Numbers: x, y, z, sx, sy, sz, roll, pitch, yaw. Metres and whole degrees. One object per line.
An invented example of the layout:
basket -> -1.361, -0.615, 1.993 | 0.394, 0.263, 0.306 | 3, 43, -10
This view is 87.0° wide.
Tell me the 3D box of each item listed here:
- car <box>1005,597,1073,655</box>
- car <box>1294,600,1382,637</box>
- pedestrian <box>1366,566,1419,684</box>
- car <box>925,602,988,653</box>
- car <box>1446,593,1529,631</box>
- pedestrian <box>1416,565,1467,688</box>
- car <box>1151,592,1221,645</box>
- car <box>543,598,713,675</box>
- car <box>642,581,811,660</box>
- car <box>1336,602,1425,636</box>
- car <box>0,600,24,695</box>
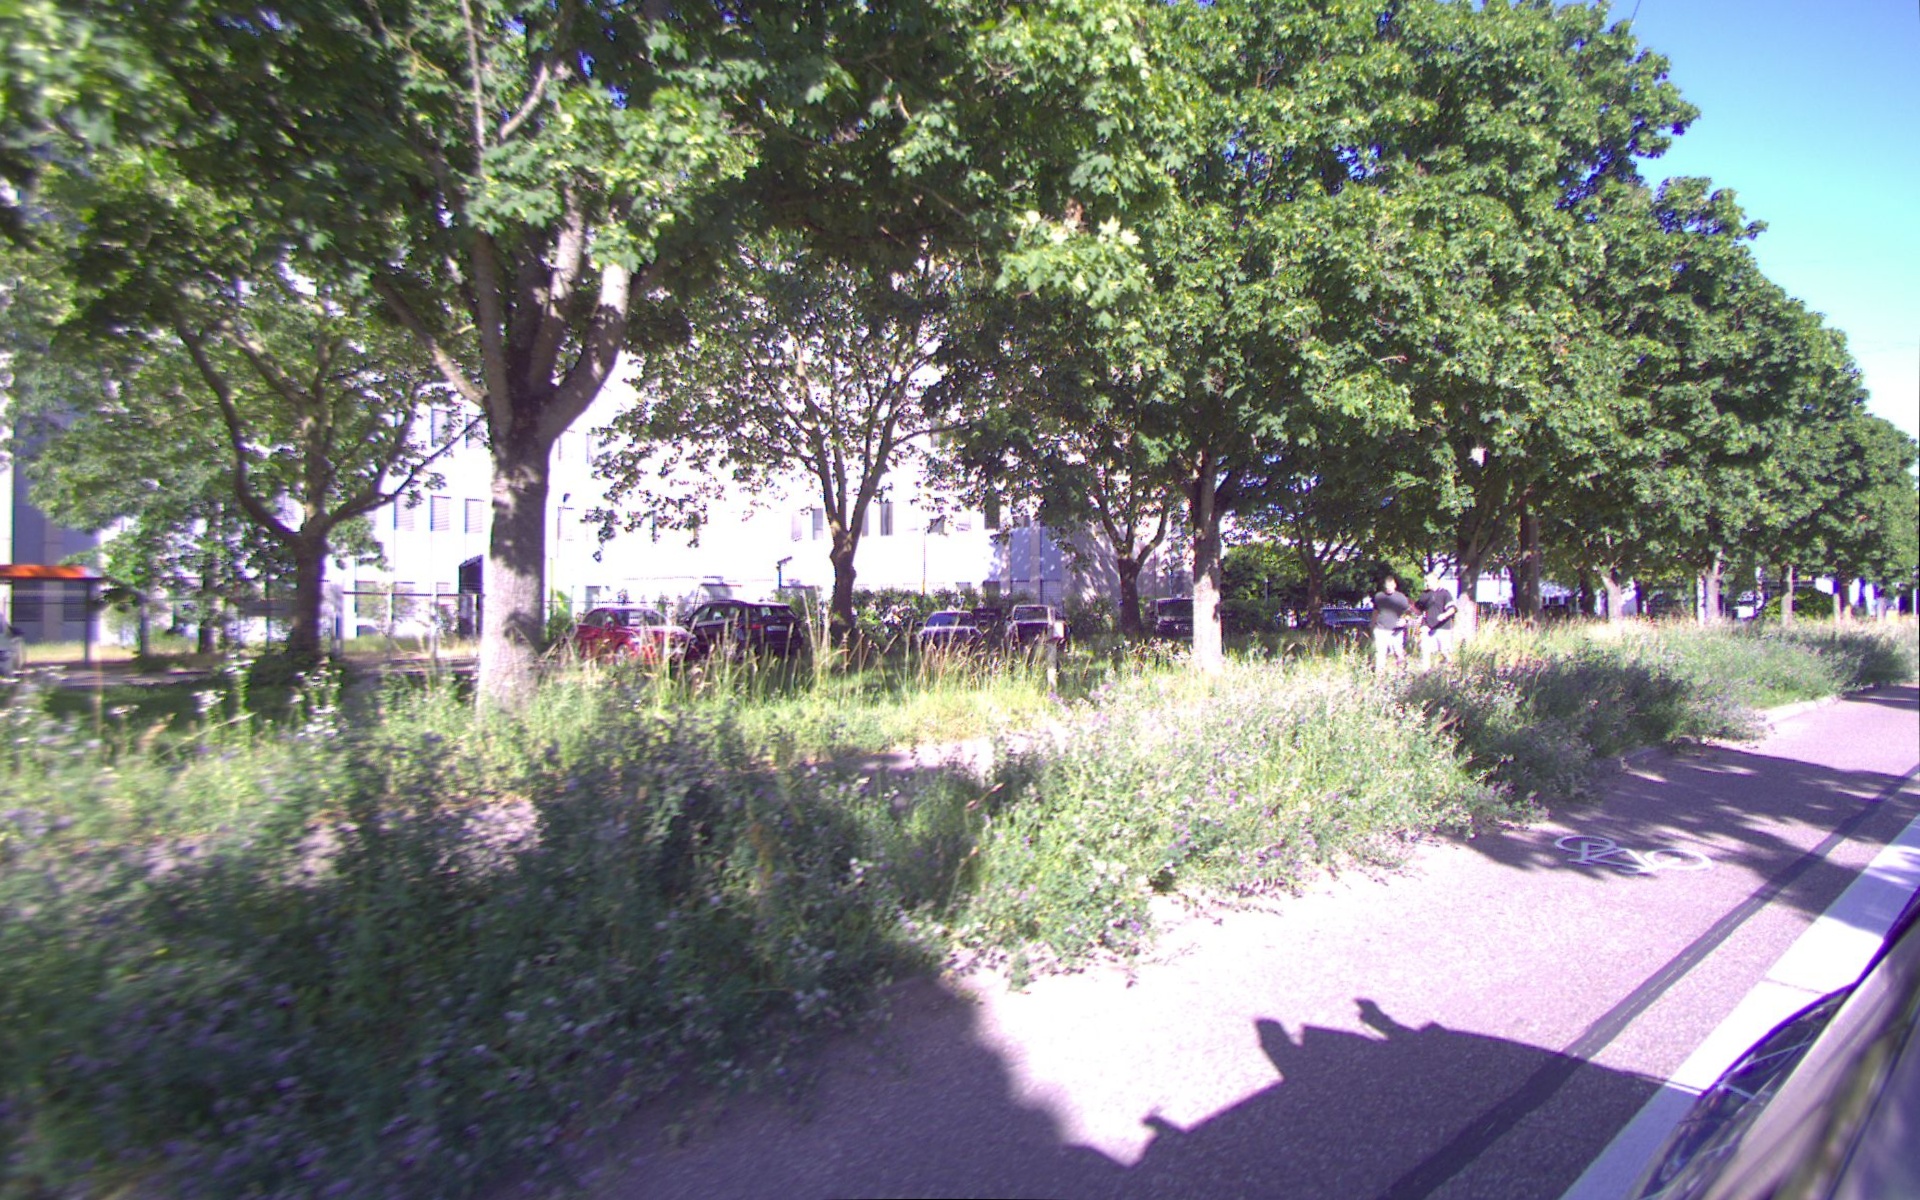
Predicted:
car -> 2.375, 0.769, 31.202 | 1.690, 1.659, 3.987 | -1, -1, -1
car -> 16.496, 0.796, 44.420 | 1.811, 1.535, 4.553 | 0, -1, -5
pedestrian -> 7.377, 0.416, 17.250 | 0.704, 1.955, 0.807 | -1, -1, 31
car -> -0.045, 0.766, 29.267 | 1.677, 1.358, 3.985 | -1, -1, 1
car -> 27.791, 0.638, 53.528 | 2.043, 1.900, 5.179 | -1, -1, 5
pedestrian -> 7.890, 0.427, 16.567 | 0.703, 1.942, 0.808 | -1, -1, 28
car -> 8.097, 0.650, 36.745 | 1.886, 1.774, 5.445 | -1, -1, 7
car -> -7.601, 0.745, 23.001 | 4.225, 1.555, 1.740 | 1, 0, 40
car -> -5.695, 0.426, 24.398 | 4.329, 1.722, 1.740 | 1, 0, 40
car -> 19.061, 0.832, 46.078 | 1.811, 1.467, 4.553 | 0, -1, -5
car -> -15.645, 0.656, 15.567 | 1.777, 1.287, 4.702 | 2, -1, -43
